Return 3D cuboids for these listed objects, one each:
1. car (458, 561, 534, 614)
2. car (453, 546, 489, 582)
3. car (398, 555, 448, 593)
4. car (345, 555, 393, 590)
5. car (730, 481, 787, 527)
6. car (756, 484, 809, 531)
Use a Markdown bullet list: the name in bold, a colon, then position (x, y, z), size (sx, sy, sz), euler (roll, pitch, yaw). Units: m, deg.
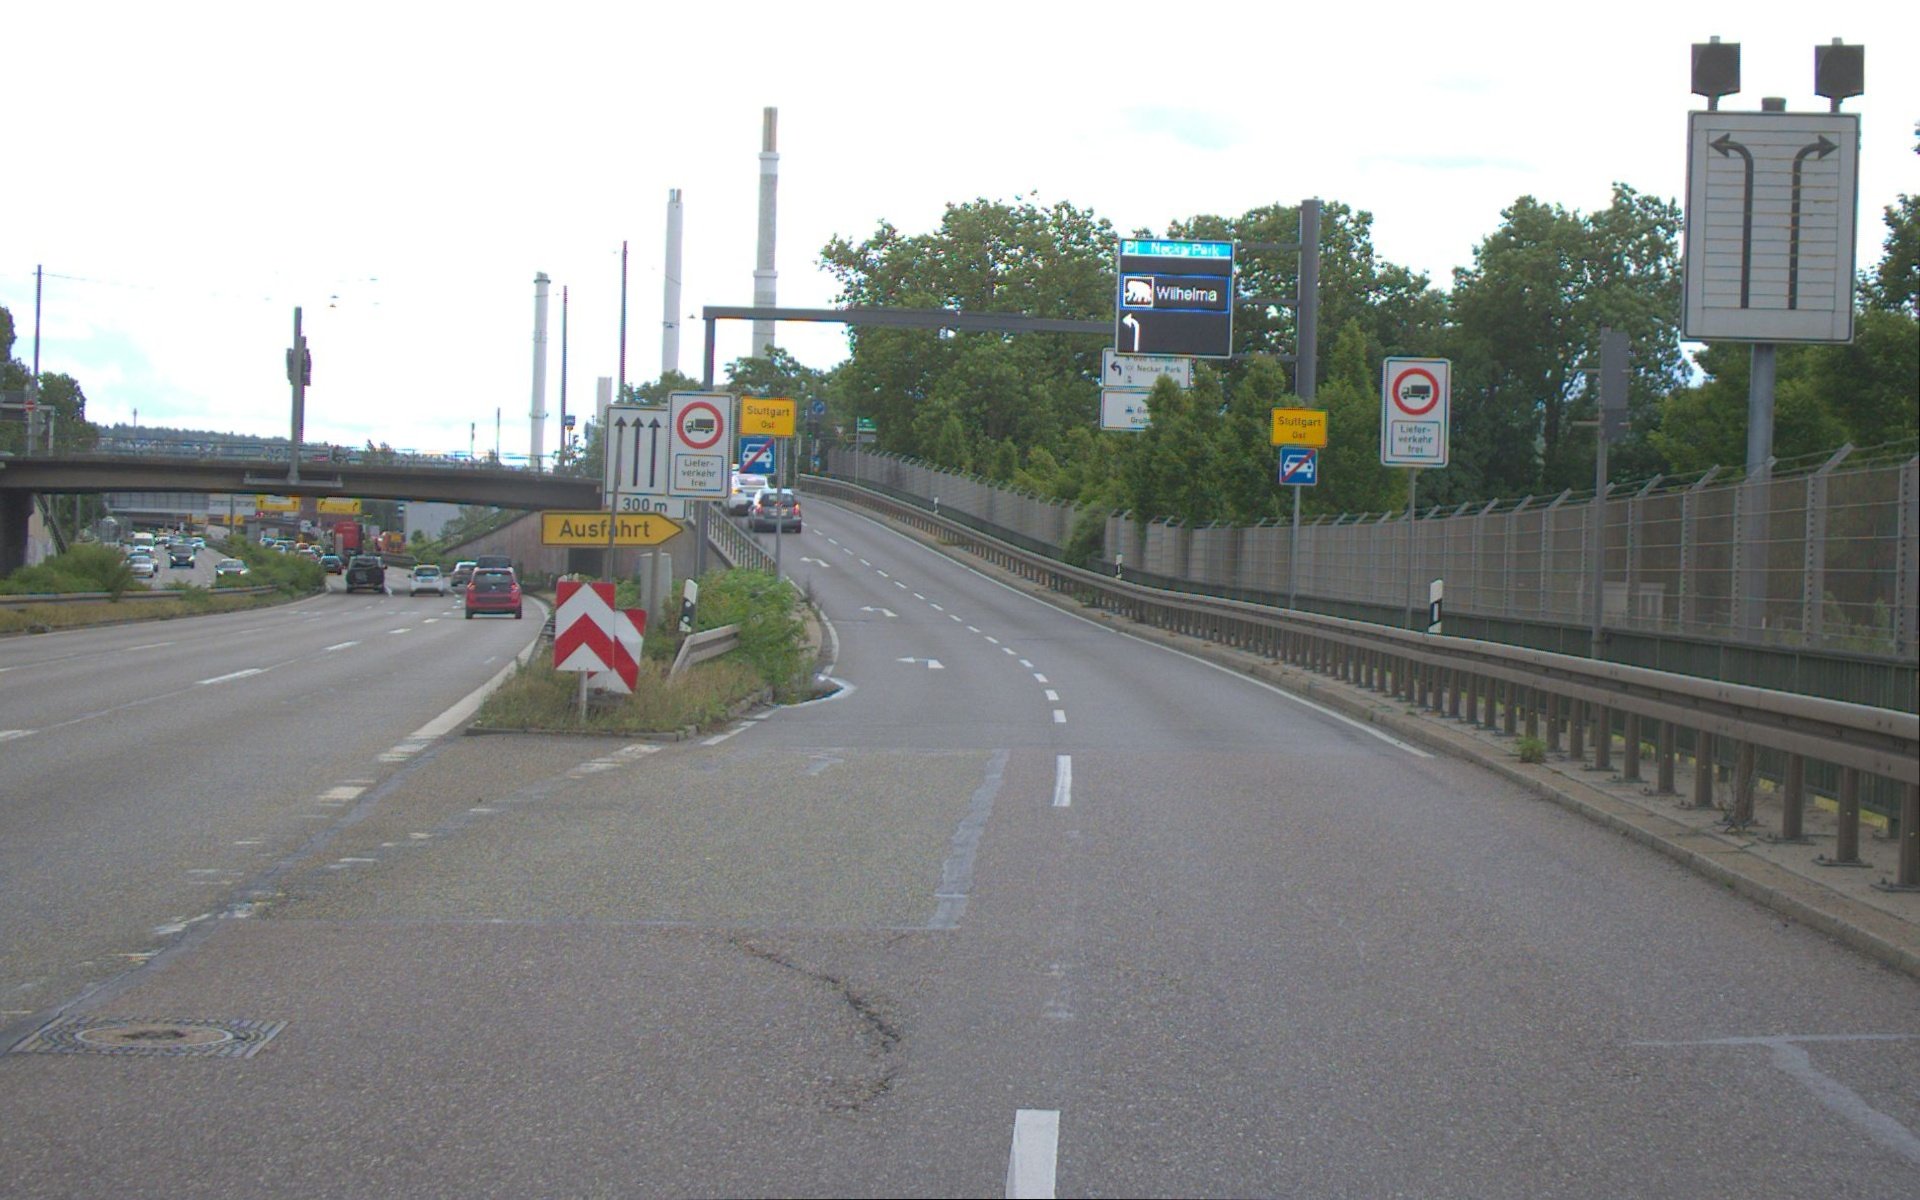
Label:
- **car**: position (-13.904, -0.389, 102.889), size (1.993, 1.415, 4.001), euler (2, 2, -11)
- **car**: position (-28.712, -2.134, 201.865), size (1.917, 2.007, 4.001), euler (3, 1, -9)
- **car**: position (-25.976, -1.255, 166.391), size (1.993, 1.678, 4.001), euler (2, 1, -4)
- **car**: position (-30.436, -1.420, 177.108), size (1.993, 1.678, 4.001), euler (2, 1, -4)
- **car**: position (-8.110, -3.867, 137.793), size (1.993, 1.597, 4.002), euler (0, 5, -7)
- **car**: position (-6.509, -3.378, 126.386), size (1.750, 1.575, 4.085), euler (3, 0, -1)
